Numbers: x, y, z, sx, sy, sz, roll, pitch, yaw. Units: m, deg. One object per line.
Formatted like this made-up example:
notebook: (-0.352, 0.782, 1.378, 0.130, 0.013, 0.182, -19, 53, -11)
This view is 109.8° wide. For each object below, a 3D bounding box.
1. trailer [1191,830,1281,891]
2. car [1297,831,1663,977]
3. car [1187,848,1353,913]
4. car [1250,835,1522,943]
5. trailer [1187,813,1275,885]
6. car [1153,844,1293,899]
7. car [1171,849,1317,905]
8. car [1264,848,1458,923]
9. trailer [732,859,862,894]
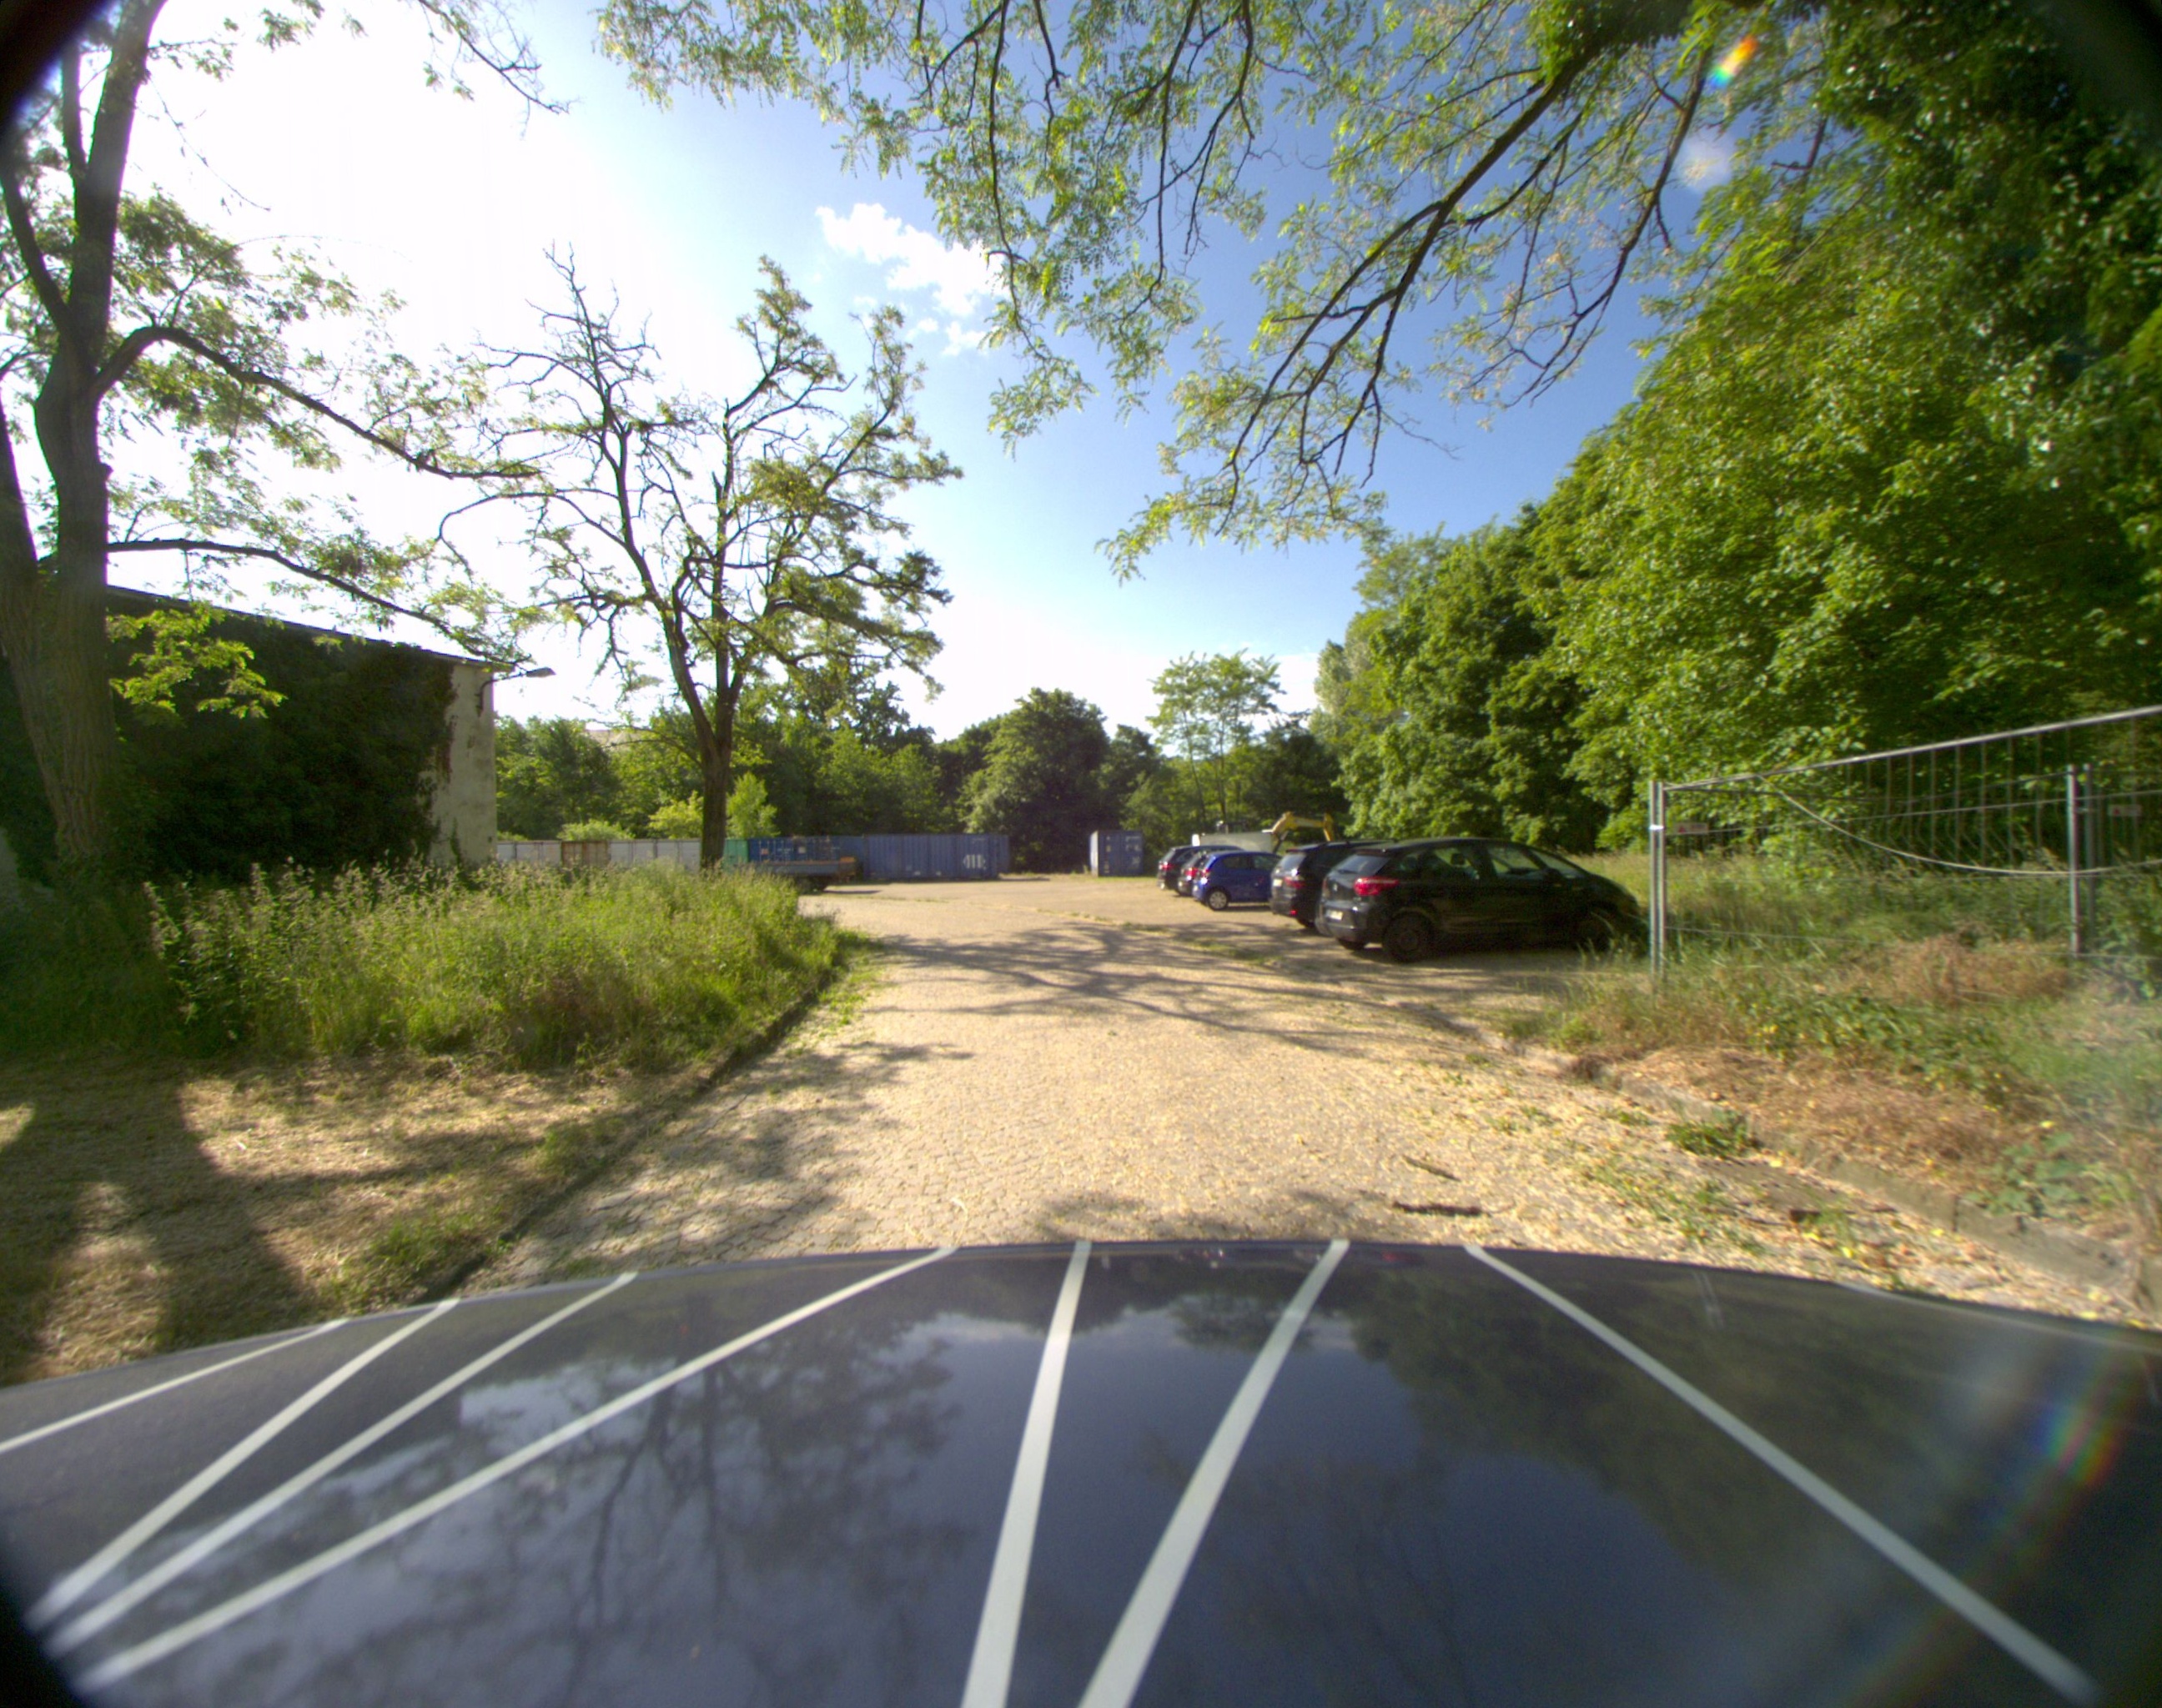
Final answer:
trailer: (5.539, 0.211, 27.440, 2.848, 2.039, 1.824, -2, 1, 1)
car: (5.563, 0.647, 10.917, 4.272, 1.580, 1.829, -4, 0, -6)
car: (4.769, 0.644, 19.515, 3.787, 1.450, 1.785, -2, 1, 0)
car: (5.586, 0.585, 14.246, 4.271, 1.622, 1.879, -3, 1, -4)
trailer: (5.796, -0.202, 29.709, 2.848, 2.524, 2.265, -4, 1, 1)
car: (4.517, 0.523, 24.701, 4.128, 1.581, 1.970, -2, 1, -1)
car: (4.673, 0.629, 22.153, 3.787, 1.403, 1.895, -2, 1, -1)
car: (6.135, 0.664, 16.999, 3.720, 1.443, 1.744, -2, 1, 5)
trailer: (-12.718, 0.987, 34.294, 4.858, 1.406, 2.648, 0, 1, -1)
